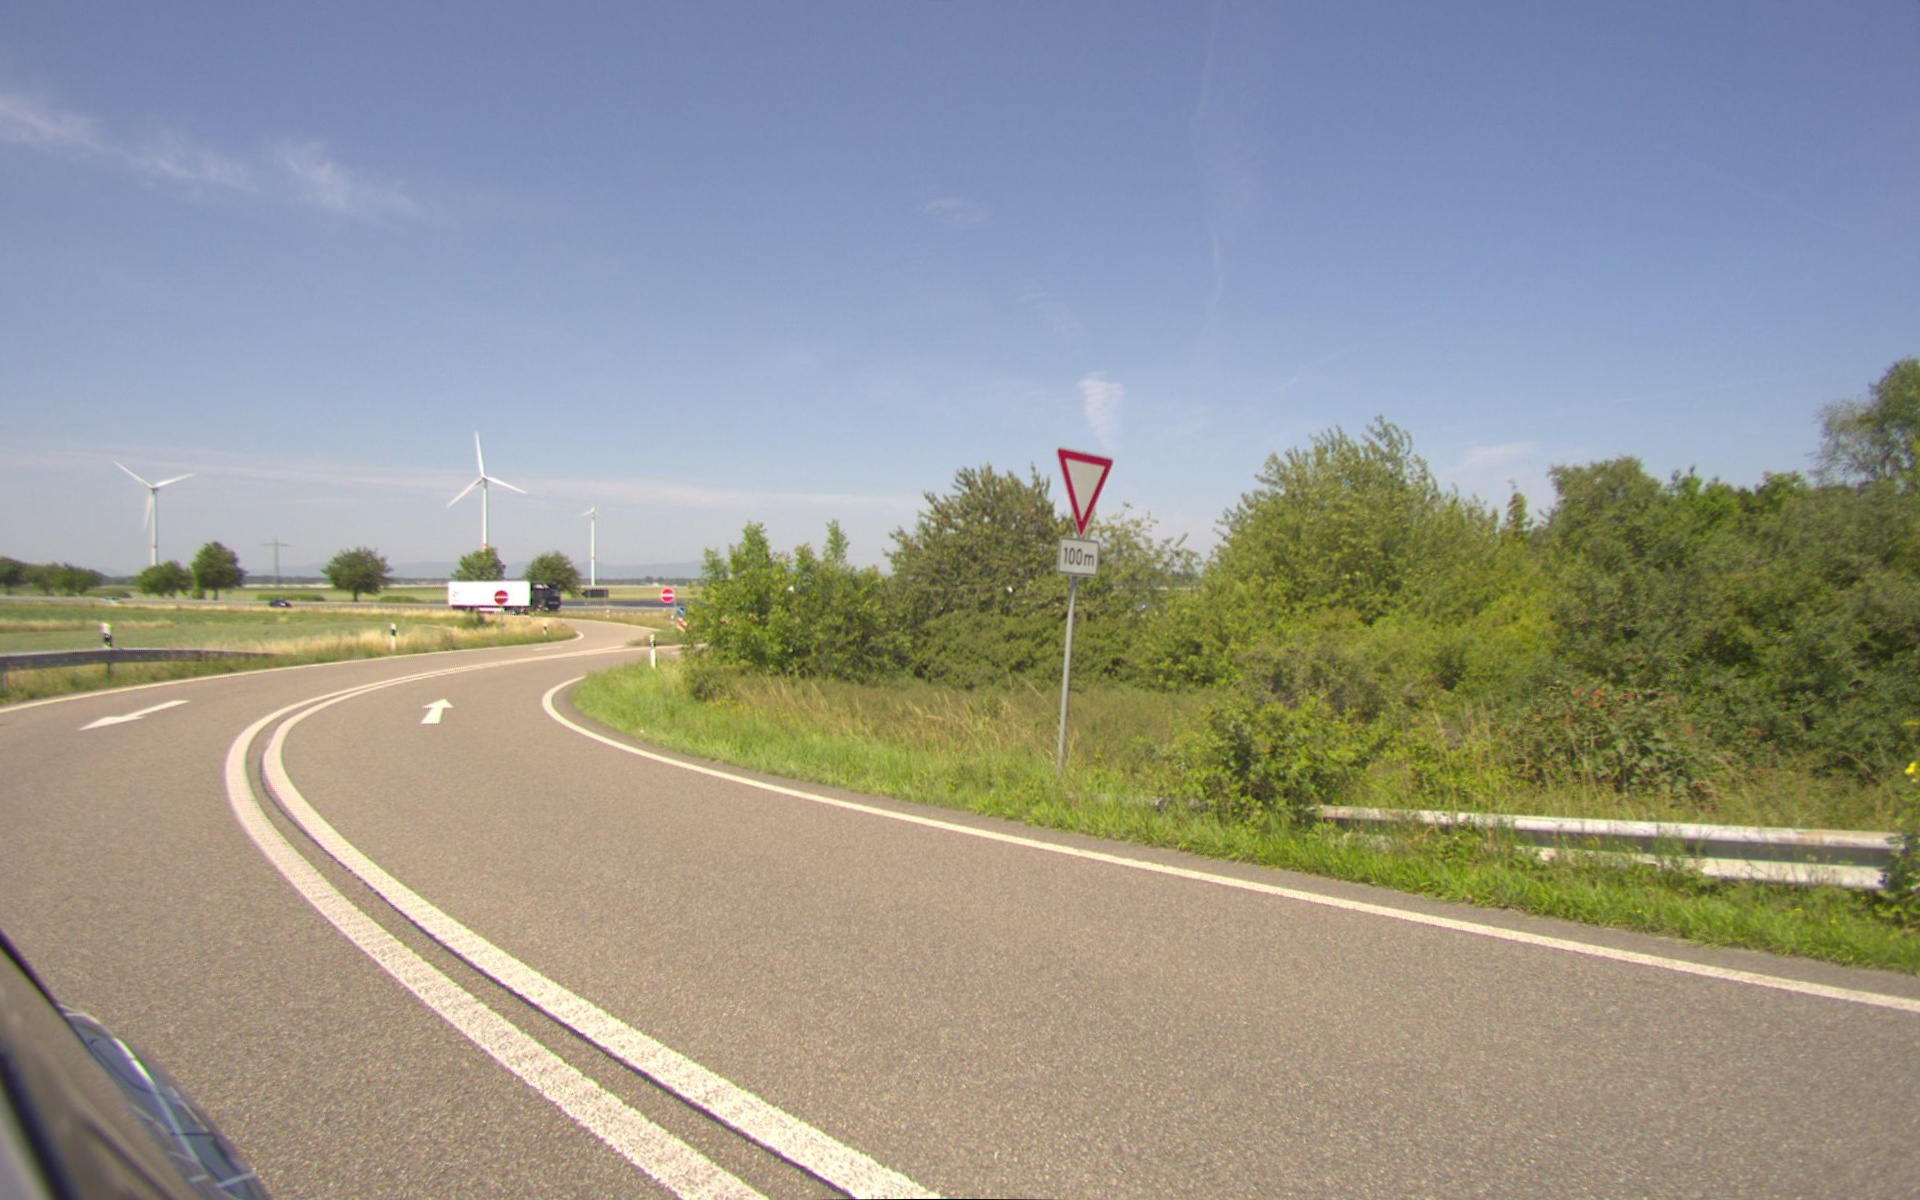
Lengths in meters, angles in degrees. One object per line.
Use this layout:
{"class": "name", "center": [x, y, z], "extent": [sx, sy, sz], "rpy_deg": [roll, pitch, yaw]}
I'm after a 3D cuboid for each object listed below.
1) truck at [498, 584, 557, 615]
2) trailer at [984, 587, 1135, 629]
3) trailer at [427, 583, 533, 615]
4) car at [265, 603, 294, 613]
{"class": "truck", "center": [-51.896, -0.084, 121.457], "extent": [6.195, 3.544, 3.092], "rpy_deg": [1, -1, 23]}
{"class": "trailer", "center": [9.120, 0.670, 93.951], "extent": [13.731, 3.672, 3.075], "rpy_deg": [1, -1, 26]}
{"class": "trailer", "center": [-59.165, -0.181, 124.544], "extent": [14.421, 3.672, 3.079], "rpy_deg": [1, -1, 23]}
{"class": "car", "center": [-100.413, 1.147, 149.437], "extent": [3.974, 1.364, 1.668], "rpy_deg": [1, 0, 23]}
